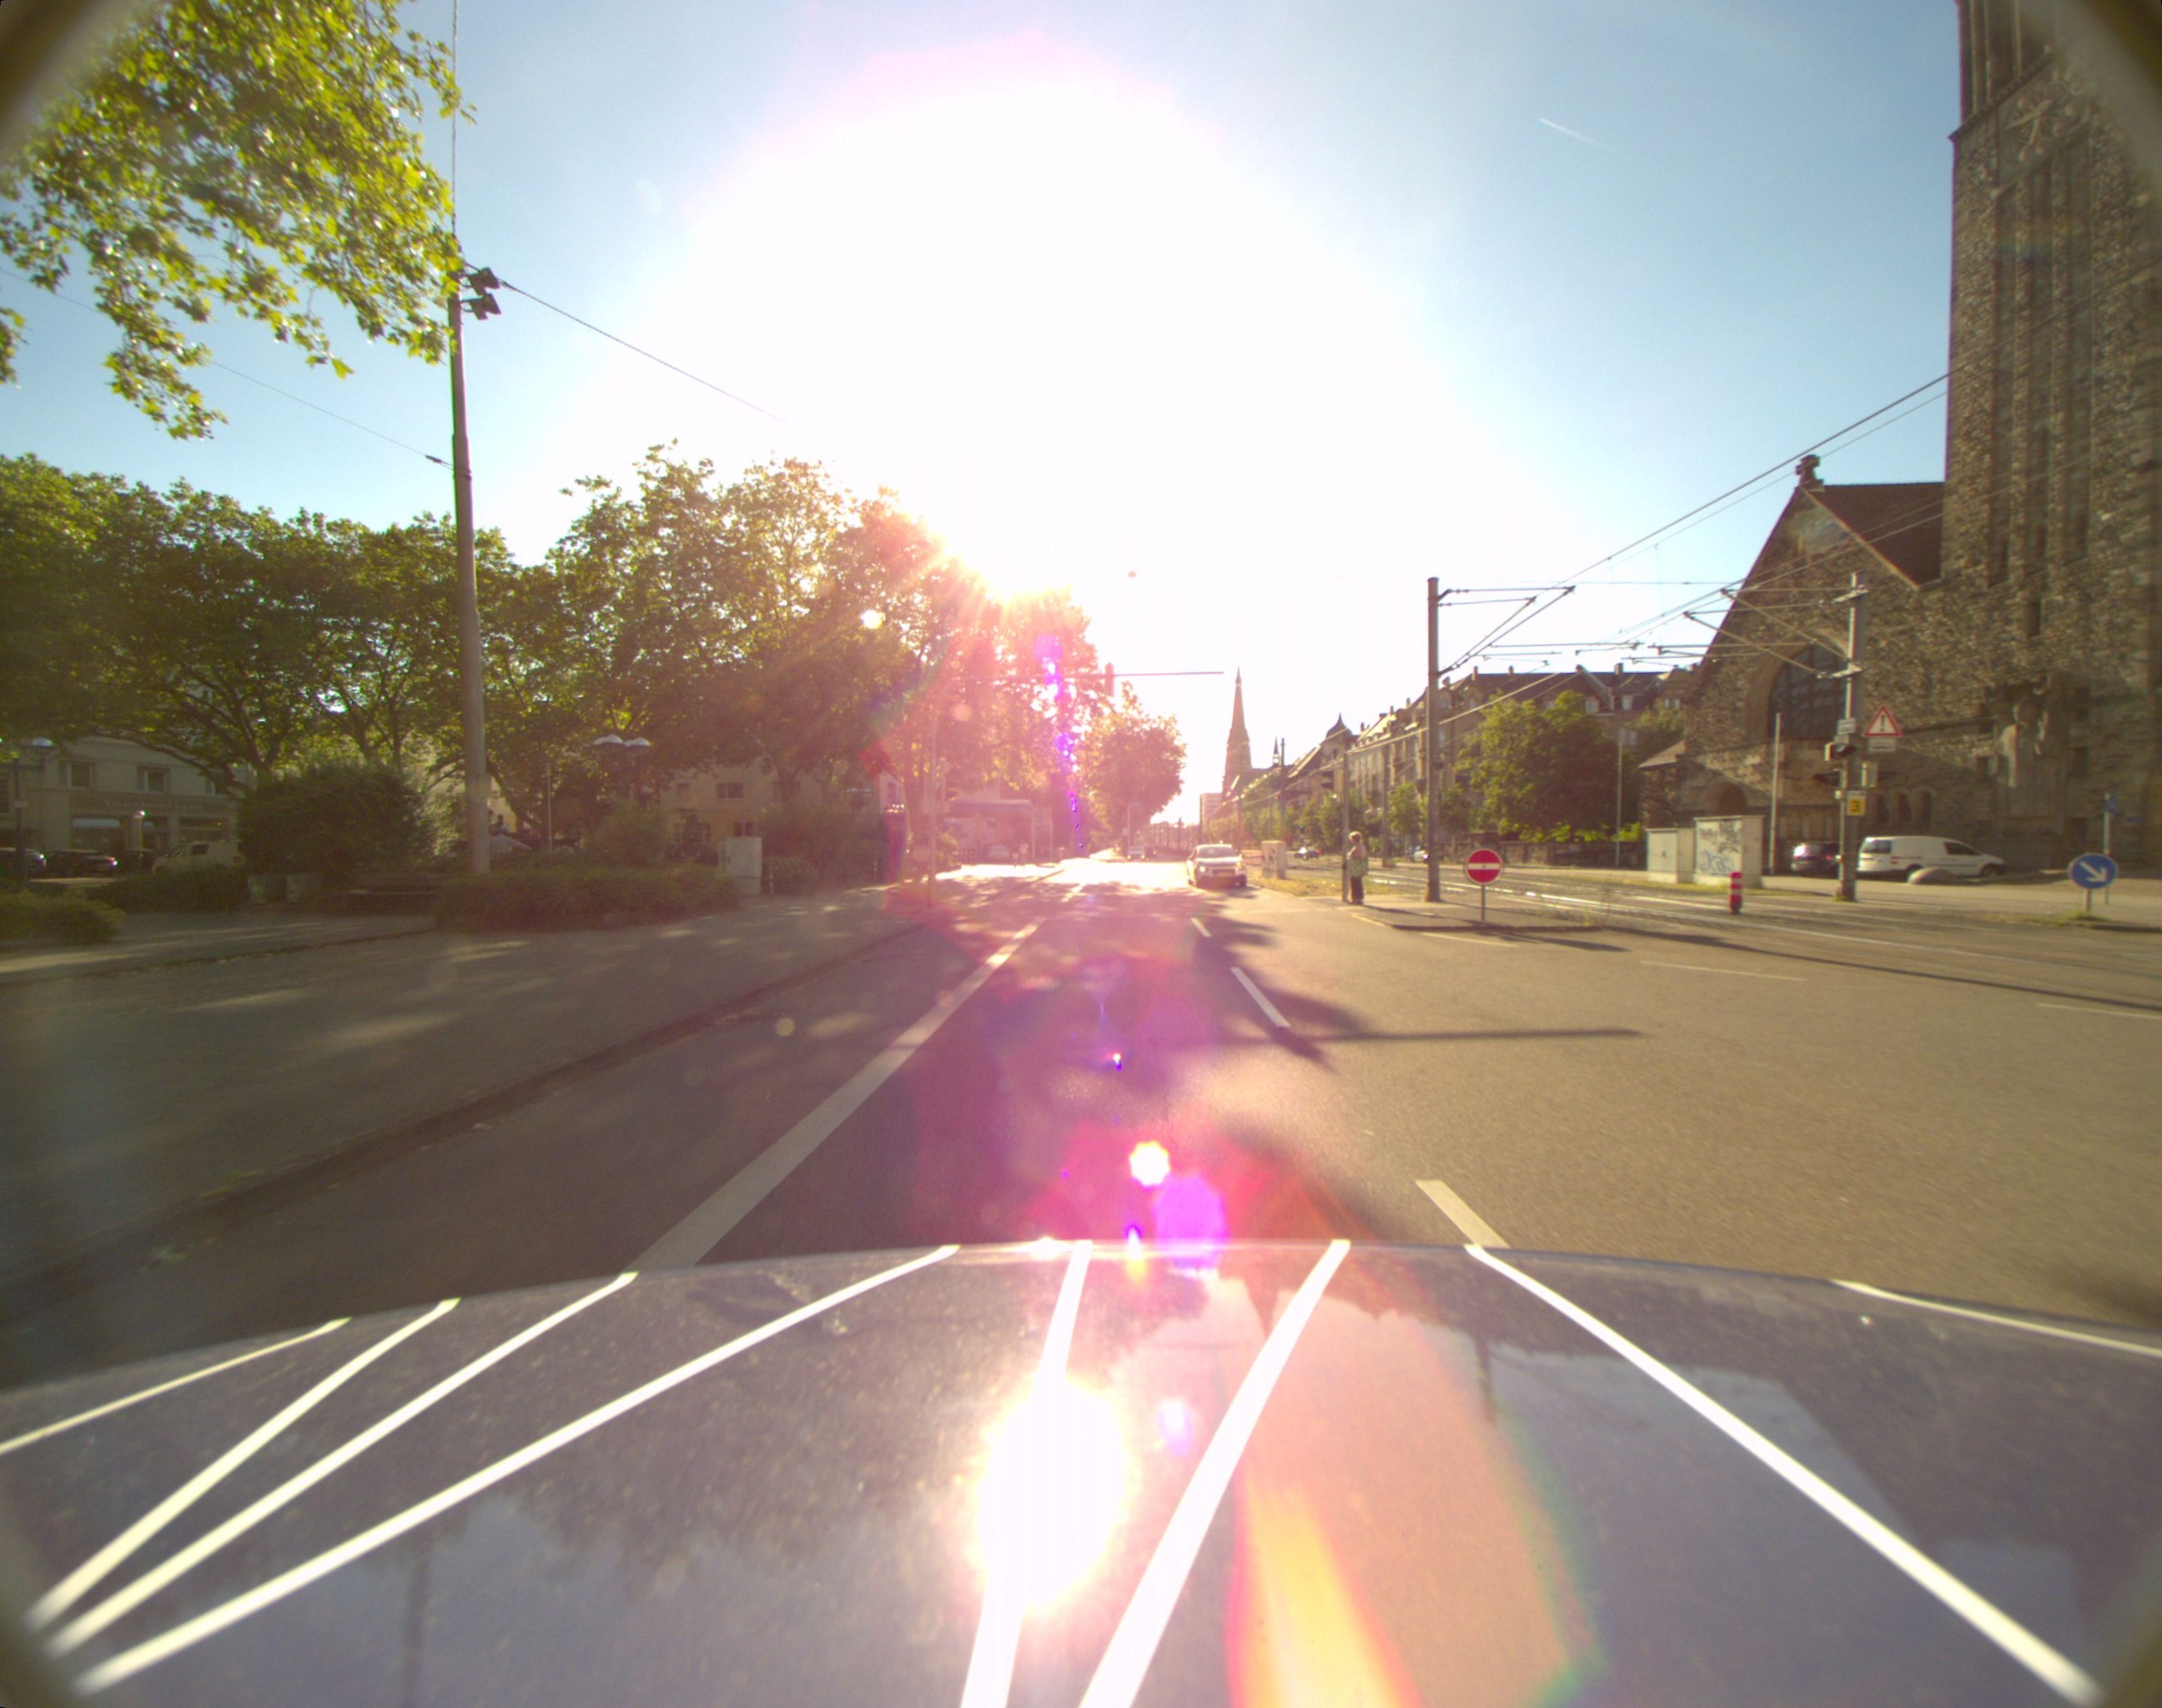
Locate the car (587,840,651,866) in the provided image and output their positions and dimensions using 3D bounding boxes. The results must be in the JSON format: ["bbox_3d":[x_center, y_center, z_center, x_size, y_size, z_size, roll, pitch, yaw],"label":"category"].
[{"bbox_3d":[-30.914,-0.102,51.018,1.710,1.650,4.179,-1,1,0],"label":"car"}]

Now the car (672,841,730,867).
[{"bbox_3d":[-25.519,-0.015,51.194,1.806,1.649,4.179,-1,1,0],"label":"car"}]

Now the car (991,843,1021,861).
[{"bbox_3d":[-5.984,-0.211,60.953,1.720,1.319,3.754,-2,1,3],"label":"car"}]

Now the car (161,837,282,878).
[{"bbox_3d":[-44.474,0.168,39.371,3.996,1.905,2.048,-2,2,4],"label":"car"}]

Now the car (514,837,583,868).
[{"bbox_3d":[-35.921,-0.104,51.381,1.710,2.016,4.179,-1,1,0],"label":"car"}]

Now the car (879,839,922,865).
[{"bbox_3d":[-11.917,-0.138,50.506,1.806,1.649,4.179,-1,1,0],"label":"car"}]

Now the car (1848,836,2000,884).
[{"bbox_3d":[34.419,0.228,31.108,4.023,1.796,1.870,-2,2,3],"label":"car"}]

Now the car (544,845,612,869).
[{"bbox_3d":[-33.588,0.157,50.848,1.710,1.494,4.179,-1,1,0],"label":"car"}]

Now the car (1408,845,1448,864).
[{"bbox_3d":[30.324,-0.006,66.462,1.786,1.521,4.214,-2,1,4],"label":"car"}]

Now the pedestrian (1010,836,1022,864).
[{"bbox_3d":[-4.327,-0.240,50.514,0.631,1.833,0.540,-2,2,1],"label":"pedestrian"}]

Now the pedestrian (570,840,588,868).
[{"bbox_3d":[-29.368,-0.030,44.492,0.539,1.604,0.631,-2,2,2],"label":"pedestrian"}]

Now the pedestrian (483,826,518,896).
[{"bbox_3d":[-15.016,0.179,19.664,0.624,1.775,0.556,0,3,45],"label":"pedestrian"}]

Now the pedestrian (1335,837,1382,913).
[{"bbox_3d":[6.065,0.441,16.645,0.678,1.612,0.925,-2,2,1],"label":"pedestrian"}]

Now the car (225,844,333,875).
[{"bbox_3d":[-44.329,0.301,42.067,3.996,1.513,1.922,-2,1,4],"label":"car"}]

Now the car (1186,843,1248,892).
[{"bbox_3d":[4.706,0.424,26.735,1.636,1.491,4.000,-2,1,3],"label":"car"}]

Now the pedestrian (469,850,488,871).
[{"bbox_3d":[-35.751,0.379,45.092,0.632,1.219,0.539,-2,2,-14],"label":"pedestrian"}]

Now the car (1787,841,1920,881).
[{"bbox_3d":[34.483,0.295,34.010,4.039,1.621,1.768,-2,2,3],"label":"car"}]

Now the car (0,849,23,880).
[{"bbox_3d":[-55.038,0.496,37.165,4.348,1.472,1.779,2,2,3],"label":"car"}]

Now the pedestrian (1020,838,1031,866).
[{"bbox_3d":[-3.676,-0.111,50.512,0.631,1.833,0.540,-2,2,1],"label":"pedestrian"}]

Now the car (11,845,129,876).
[{"bbox_3d":[-55.378,0.338,41.667,4.348,1.512,1.779,2,2,3],"label":"car"}]

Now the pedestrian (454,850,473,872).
[{"bbox_3d":[-36.422,0.409,44.827,0.632,1.219,0.539,-2,2,-14],"label":"pedestrian"}]

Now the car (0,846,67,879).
[{"bbox_3d":[-55.712,0.426,39.287,4.348,1.512,1.779,2,2,3],"label":"car"}]

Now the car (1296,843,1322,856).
[{"bbox_3d":[26.970,-0.549,90.115,1.998,1.419,4.554,1,1,4],"label":"car"}]

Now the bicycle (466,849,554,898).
[{"bbox_3d":[-14.672,0.475,19.545,1.725,1.157,0.697,-3,2,-40],"label":"bicycle"}]
